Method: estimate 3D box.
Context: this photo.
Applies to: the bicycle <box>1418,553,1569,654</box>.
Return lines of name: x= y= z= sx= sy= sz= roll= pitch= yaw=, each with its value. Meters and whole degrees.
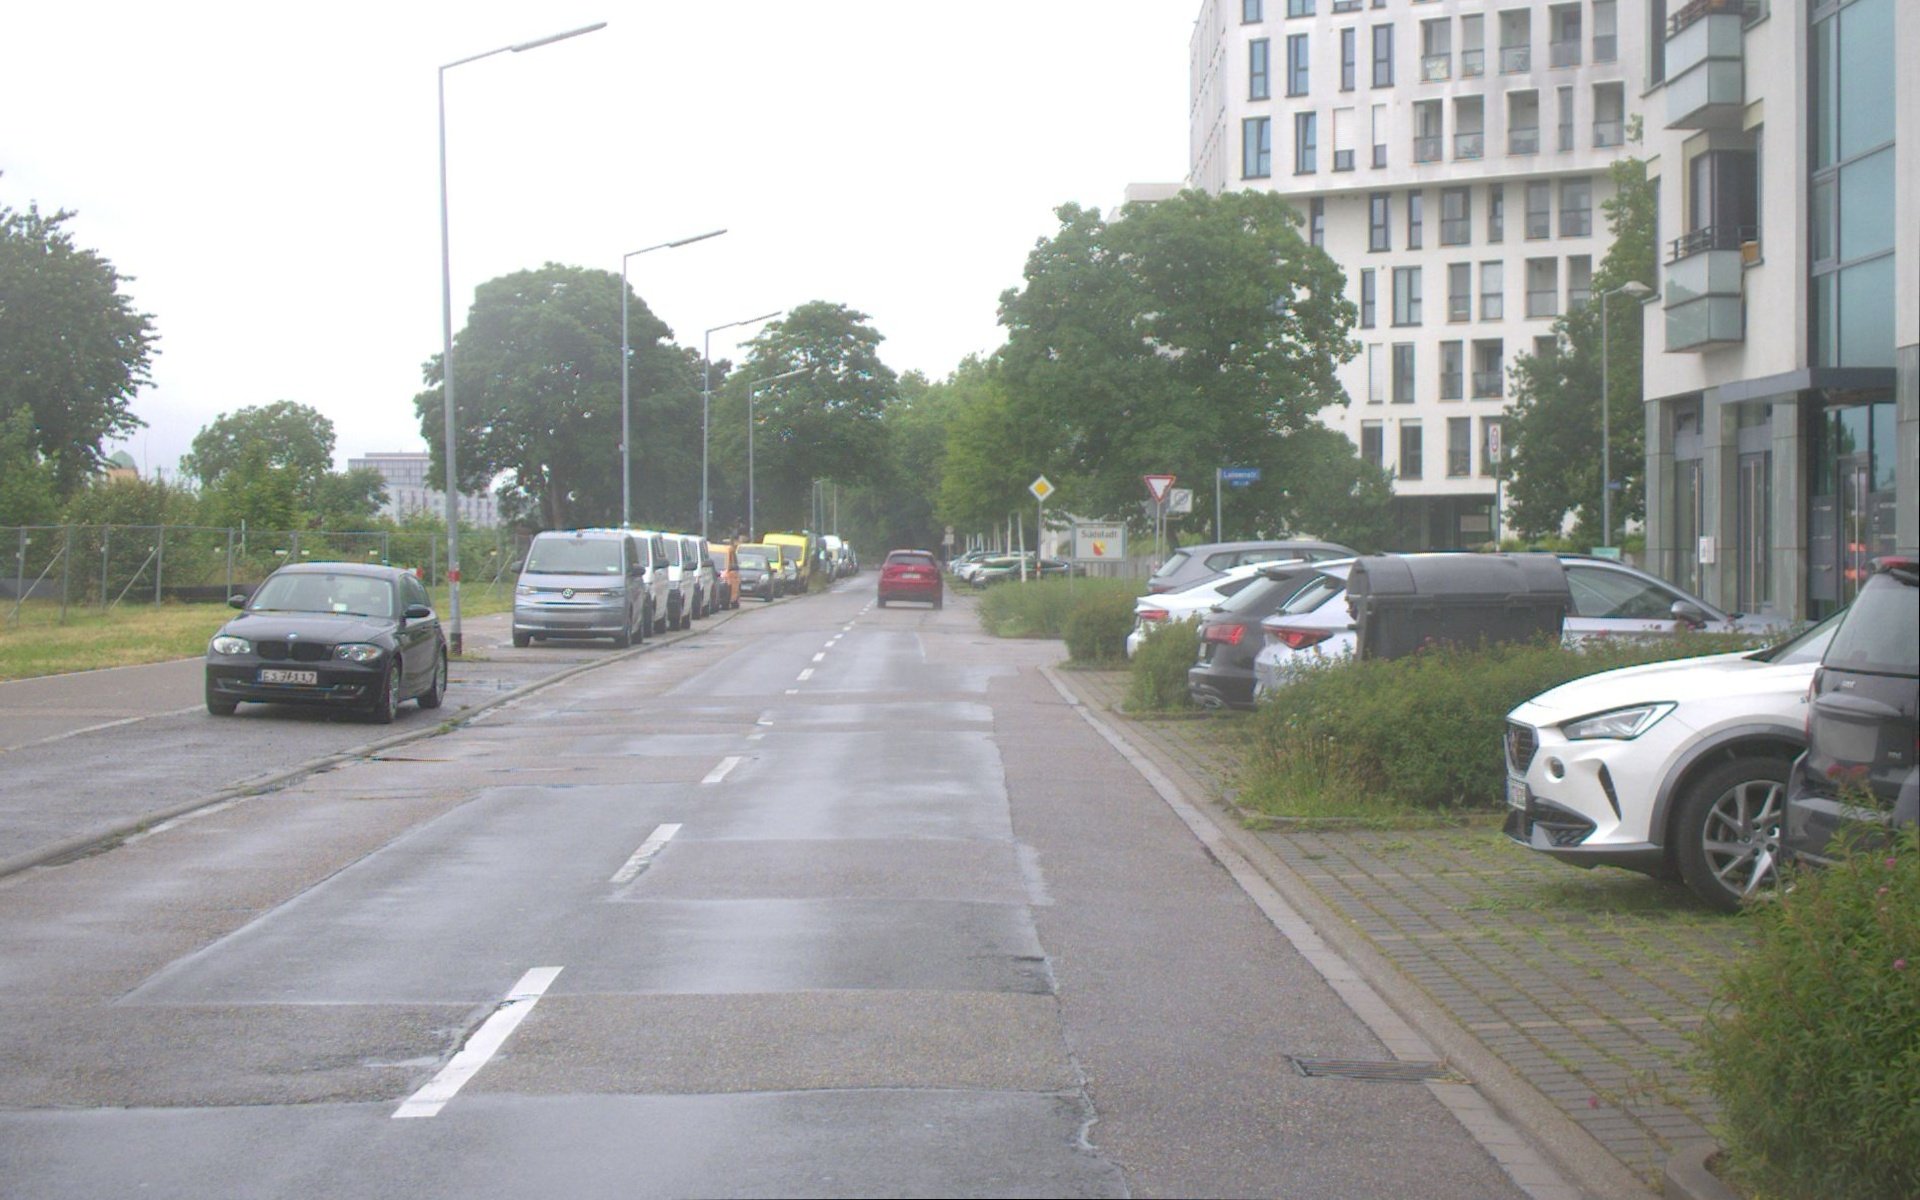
bicycle: x=8.193 y=0.059 z=52.830 sx=2.190 sy=1.517 sz=0.630 roll=-1 pitch=0 yaw=20

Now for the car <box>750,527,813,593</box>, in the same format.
car: x=-7.649 y=-1.714 z=147.709 sx=2.192 sy=2.685 sz=6.081 roll=3 pitch=0 yaw=1

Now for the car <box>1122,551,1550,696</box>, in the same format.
car: x=4.064 y=0.244 z=37.655 sx=4.409 sy=1.400 sz=1.911 roll=-2 pitch=0 yaw=-1

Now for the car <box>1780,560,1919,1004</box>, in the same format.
car: x=4.485 y=0.579 z=12.511 sx=2.623 sy=1.501 sz=1.208 roll=-2 pitch=1 yaw=-6

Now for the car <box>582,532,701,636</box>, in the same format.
car: x=-6.563 y=-0.356 z=71.242 sx=1.960 sy=2.051 sz=5.274 roll=1 pitch=1 yaw=0

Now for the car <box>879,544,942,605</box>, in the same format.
car: x=-1.429 y=-0.727 z=97.787 sx=1.756 sy=1.700 sz=4.000 roll=0 pitch=1 yaw=-1

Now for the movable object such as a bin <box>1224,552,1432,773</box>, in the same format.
movable object such as a bin: x=2.656 y=0.432 z=25.028 sx=1.300 sy=1.521 sz=1.582 roll=-2 pitch=1 yaw=0

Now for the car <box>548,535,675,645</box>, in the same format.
car: x=-6.588 y=-0.212 z=65.501 sx=1.895 sy=2.007 sz=5.258 roll=0 pitch=1 yaw=0

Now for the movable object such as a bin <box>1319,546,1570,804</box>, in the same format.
movable object such as a bin: x=3.068 y=0.452 z=21.977 sx=1.300 sy=1.521 sz=1.582 roll=-3 pitch=1 yaw=0

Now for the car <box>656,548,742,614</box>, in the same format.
car: x=-7.122 y=-0.524 z=94.298 sx=1.940 sy=1.761 sz=4.331 roll=0 pitch=1 yaw=1

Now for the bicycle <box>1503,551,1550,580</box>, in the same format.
bicycle: x=20.290 y=-1.223 z=123.114 sx=0.724 sy=1.029 sz=2.068 roll=0 pitch=1 yaw=39

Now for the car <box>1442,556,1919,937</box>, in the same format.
car: x=4.498 y=0.569 z=15.407 sx=4.346 sy=1.525 sz=1.893 roll=-2 pitch=1 yaw=-1

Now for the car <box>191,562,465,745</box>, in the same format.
car: x=-5.991 y=0.459 z=33.046 sx=1.847 sy=1.556 sz=4.152 roll=3 pitch=1 yaw=-1

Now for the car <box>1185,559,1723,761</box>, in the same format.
car: x=3.950 y=0.459 z=28.037 sx=4.060 sy=1.491 sz=2.058 roll=-1 pitch=1 yaw=0

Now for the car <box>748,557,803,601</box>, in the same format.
car: x=-7.273 y=-0.830 z=136.058 sx=1.993 sy=1.588 sz=5.018 roll=3 pitch=0 yaw=-2

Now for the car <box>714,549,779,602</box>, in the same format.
car: x=-6.880 y=-0.807 z=111.059 sx=1.804 sy=1.556 sz=4.033 roll=3 pitch=1 yaw=0

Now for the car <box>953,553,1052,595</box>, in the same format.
car: x=2.036 y=-1.269 z=166.132 sx=4.539 sy=1.679 sz=1.886 roll=-5 pitch=1 yaw=-3

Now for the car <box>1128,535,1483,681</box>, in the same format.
car: x=4.230 y=0.090 z=42.553 sx=4.089 sy=1.618 sz=1.966 roll=-2 pitch=0 yaw=-2

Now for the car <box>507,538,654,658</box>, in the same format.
car: x=-6.322 y=-0.061 z=57.725 sx=1.956 sy=1.895 sz=4.995 roll=1 pitch=1 yaw=-1
